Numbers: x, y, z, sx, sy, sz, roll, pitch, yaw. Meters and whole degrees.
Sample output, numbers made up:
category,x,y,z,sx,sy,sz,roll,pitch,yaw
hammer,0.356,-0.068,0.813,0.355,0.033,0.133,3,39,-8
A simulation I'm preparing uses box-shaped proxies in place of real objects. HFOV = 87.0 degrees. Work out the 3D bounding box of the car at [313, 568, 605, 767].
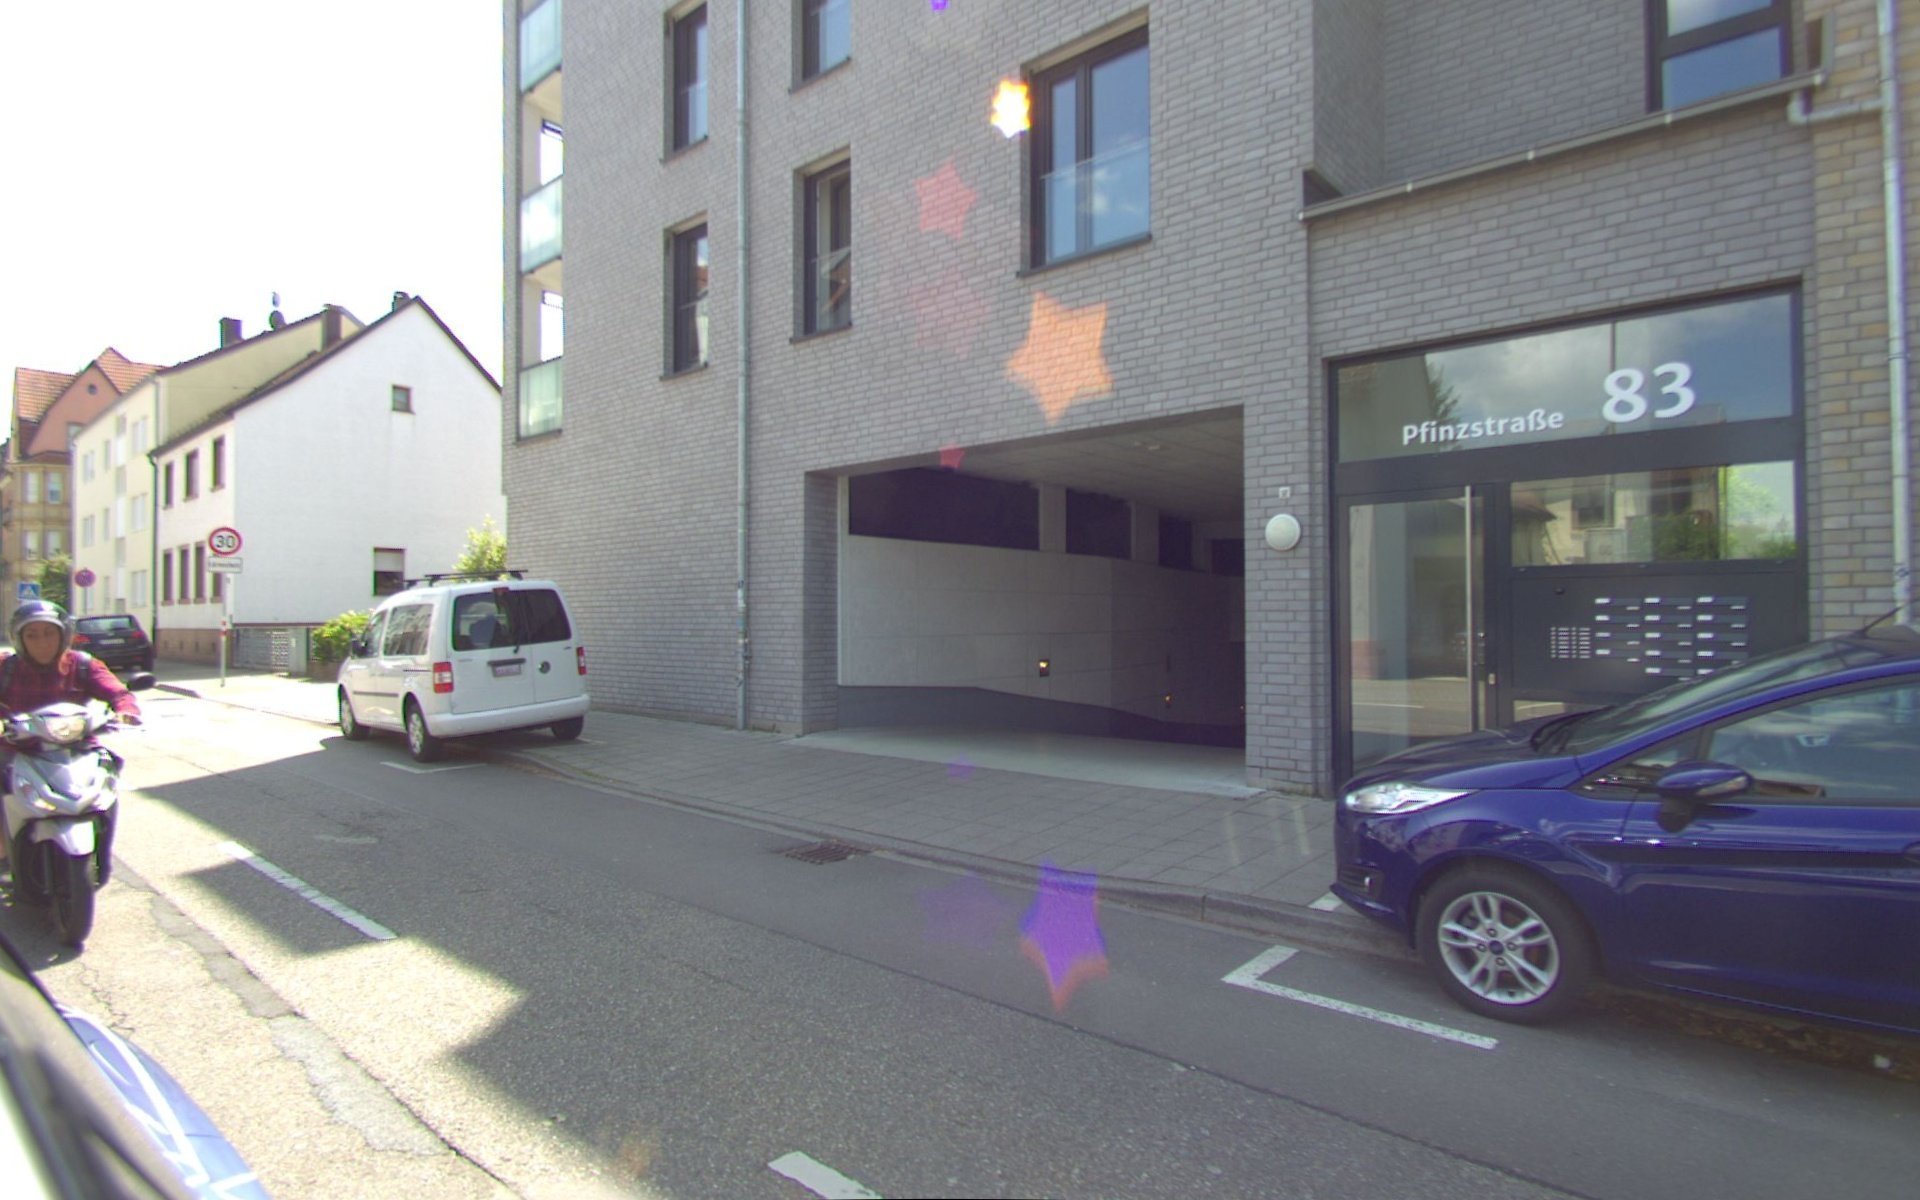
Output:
category,x,y,z,sx,sy,sz,roll,pitch,yaw
car,-6.028,0.673,11.911,4.338,1.906,1.737,-2,1,45

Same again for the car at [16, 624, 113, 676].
category,x,y,z,sx,sy,sz,roll,pitch,yaw
car,-26.955,1.435,30.424,4.290,1.427,1.813,-1,-1,43

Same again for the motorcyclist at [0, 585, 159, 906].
category,x,y,z,sx,sy,sz,roll,pitch,yaw
motorcyclist,-4.613,0.670,5.060,1.020,1.451,0.783,-2,-1,42

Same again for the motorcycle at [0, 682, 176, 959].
category,x,y,z,sx,sy,sz,roll,pitch,yaw
motorcycle,-4.632,0.997,5.079,1.991,1.063,0.750,-2,-1,42

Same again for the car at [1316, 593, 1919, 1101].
category,x,y,z,sx,sy,sz,roll,pitch,yaw
car,3.517,0.712,3.441,4.004,1.467,1.705,-1,0,42

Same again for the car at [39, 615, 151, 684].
category,x,y,z,sx,sy,sz,roll,pitch,yaw
car,-23.197,1.270,27.102,3.943,1.659,1.775,-1,0,42
